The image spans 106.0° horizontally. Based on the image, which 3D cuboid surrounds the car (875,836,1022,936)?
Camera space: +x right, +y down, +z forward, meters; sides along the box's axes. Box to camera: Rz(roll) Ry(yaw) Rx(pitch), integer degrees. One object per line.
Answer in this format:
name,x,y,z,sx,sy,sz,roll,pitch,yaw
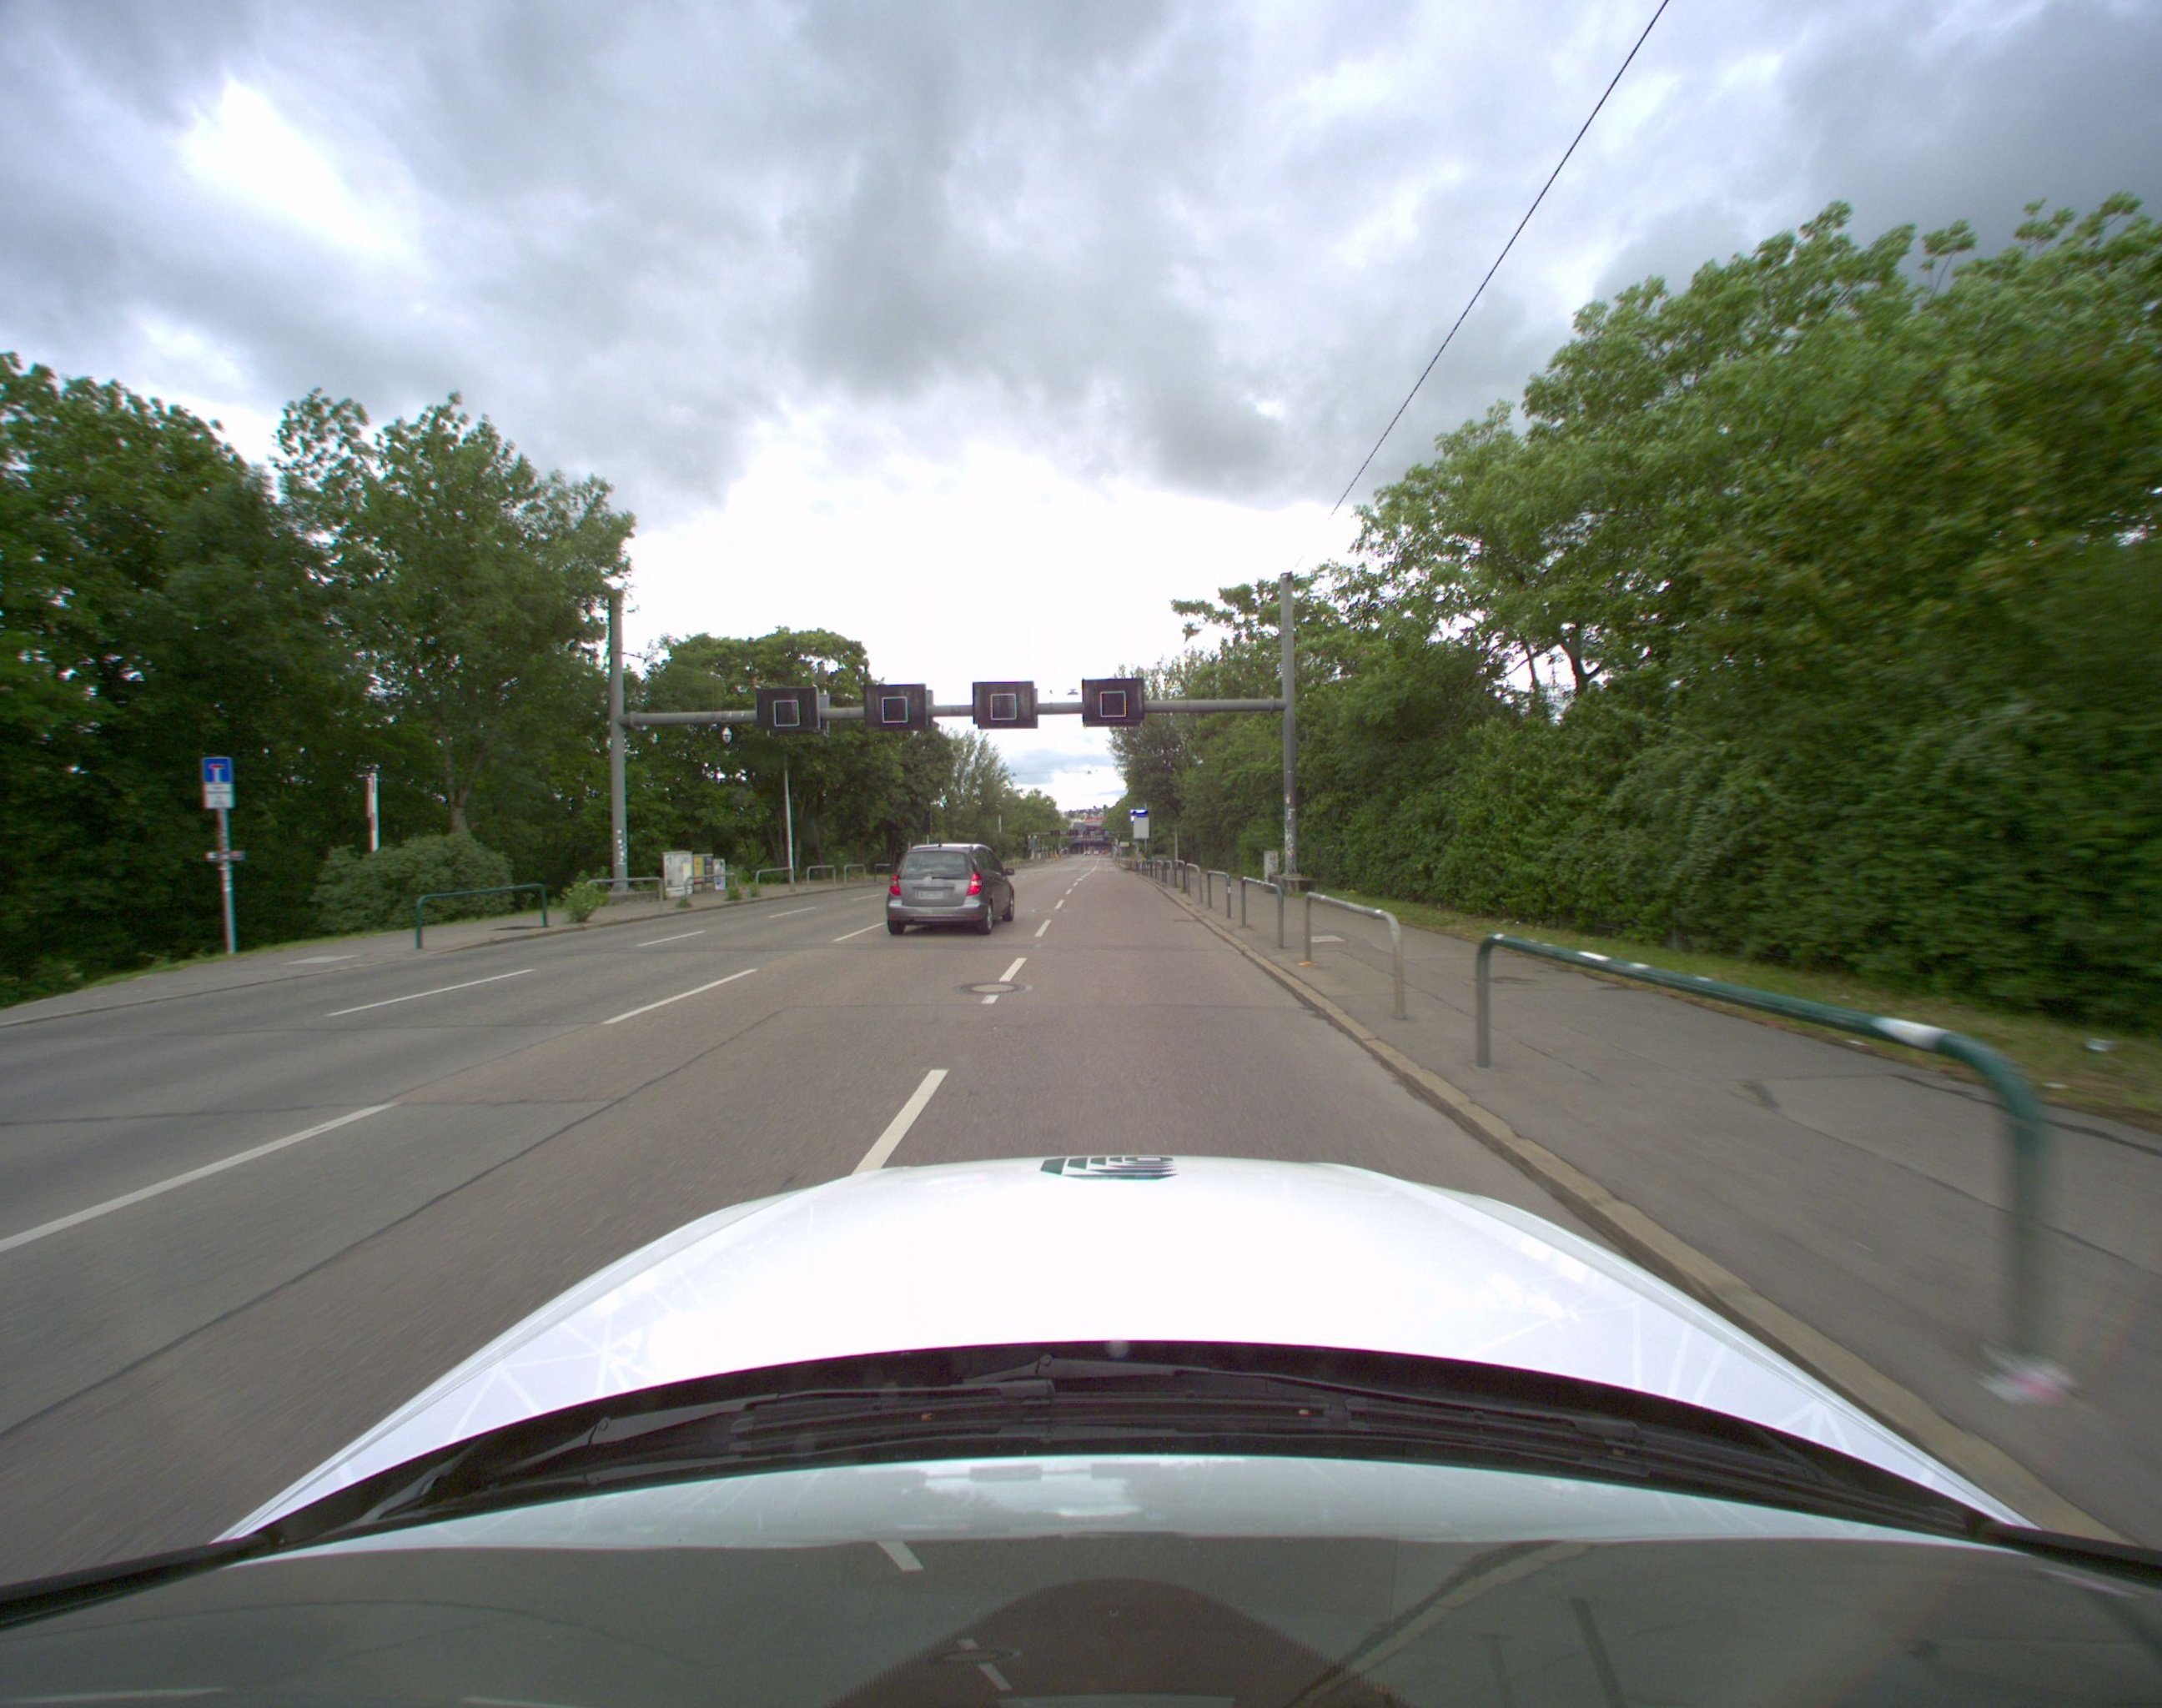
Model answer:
car,-2.319,0.547,15.324,1.818,1.616,4.038,1,-1,4
